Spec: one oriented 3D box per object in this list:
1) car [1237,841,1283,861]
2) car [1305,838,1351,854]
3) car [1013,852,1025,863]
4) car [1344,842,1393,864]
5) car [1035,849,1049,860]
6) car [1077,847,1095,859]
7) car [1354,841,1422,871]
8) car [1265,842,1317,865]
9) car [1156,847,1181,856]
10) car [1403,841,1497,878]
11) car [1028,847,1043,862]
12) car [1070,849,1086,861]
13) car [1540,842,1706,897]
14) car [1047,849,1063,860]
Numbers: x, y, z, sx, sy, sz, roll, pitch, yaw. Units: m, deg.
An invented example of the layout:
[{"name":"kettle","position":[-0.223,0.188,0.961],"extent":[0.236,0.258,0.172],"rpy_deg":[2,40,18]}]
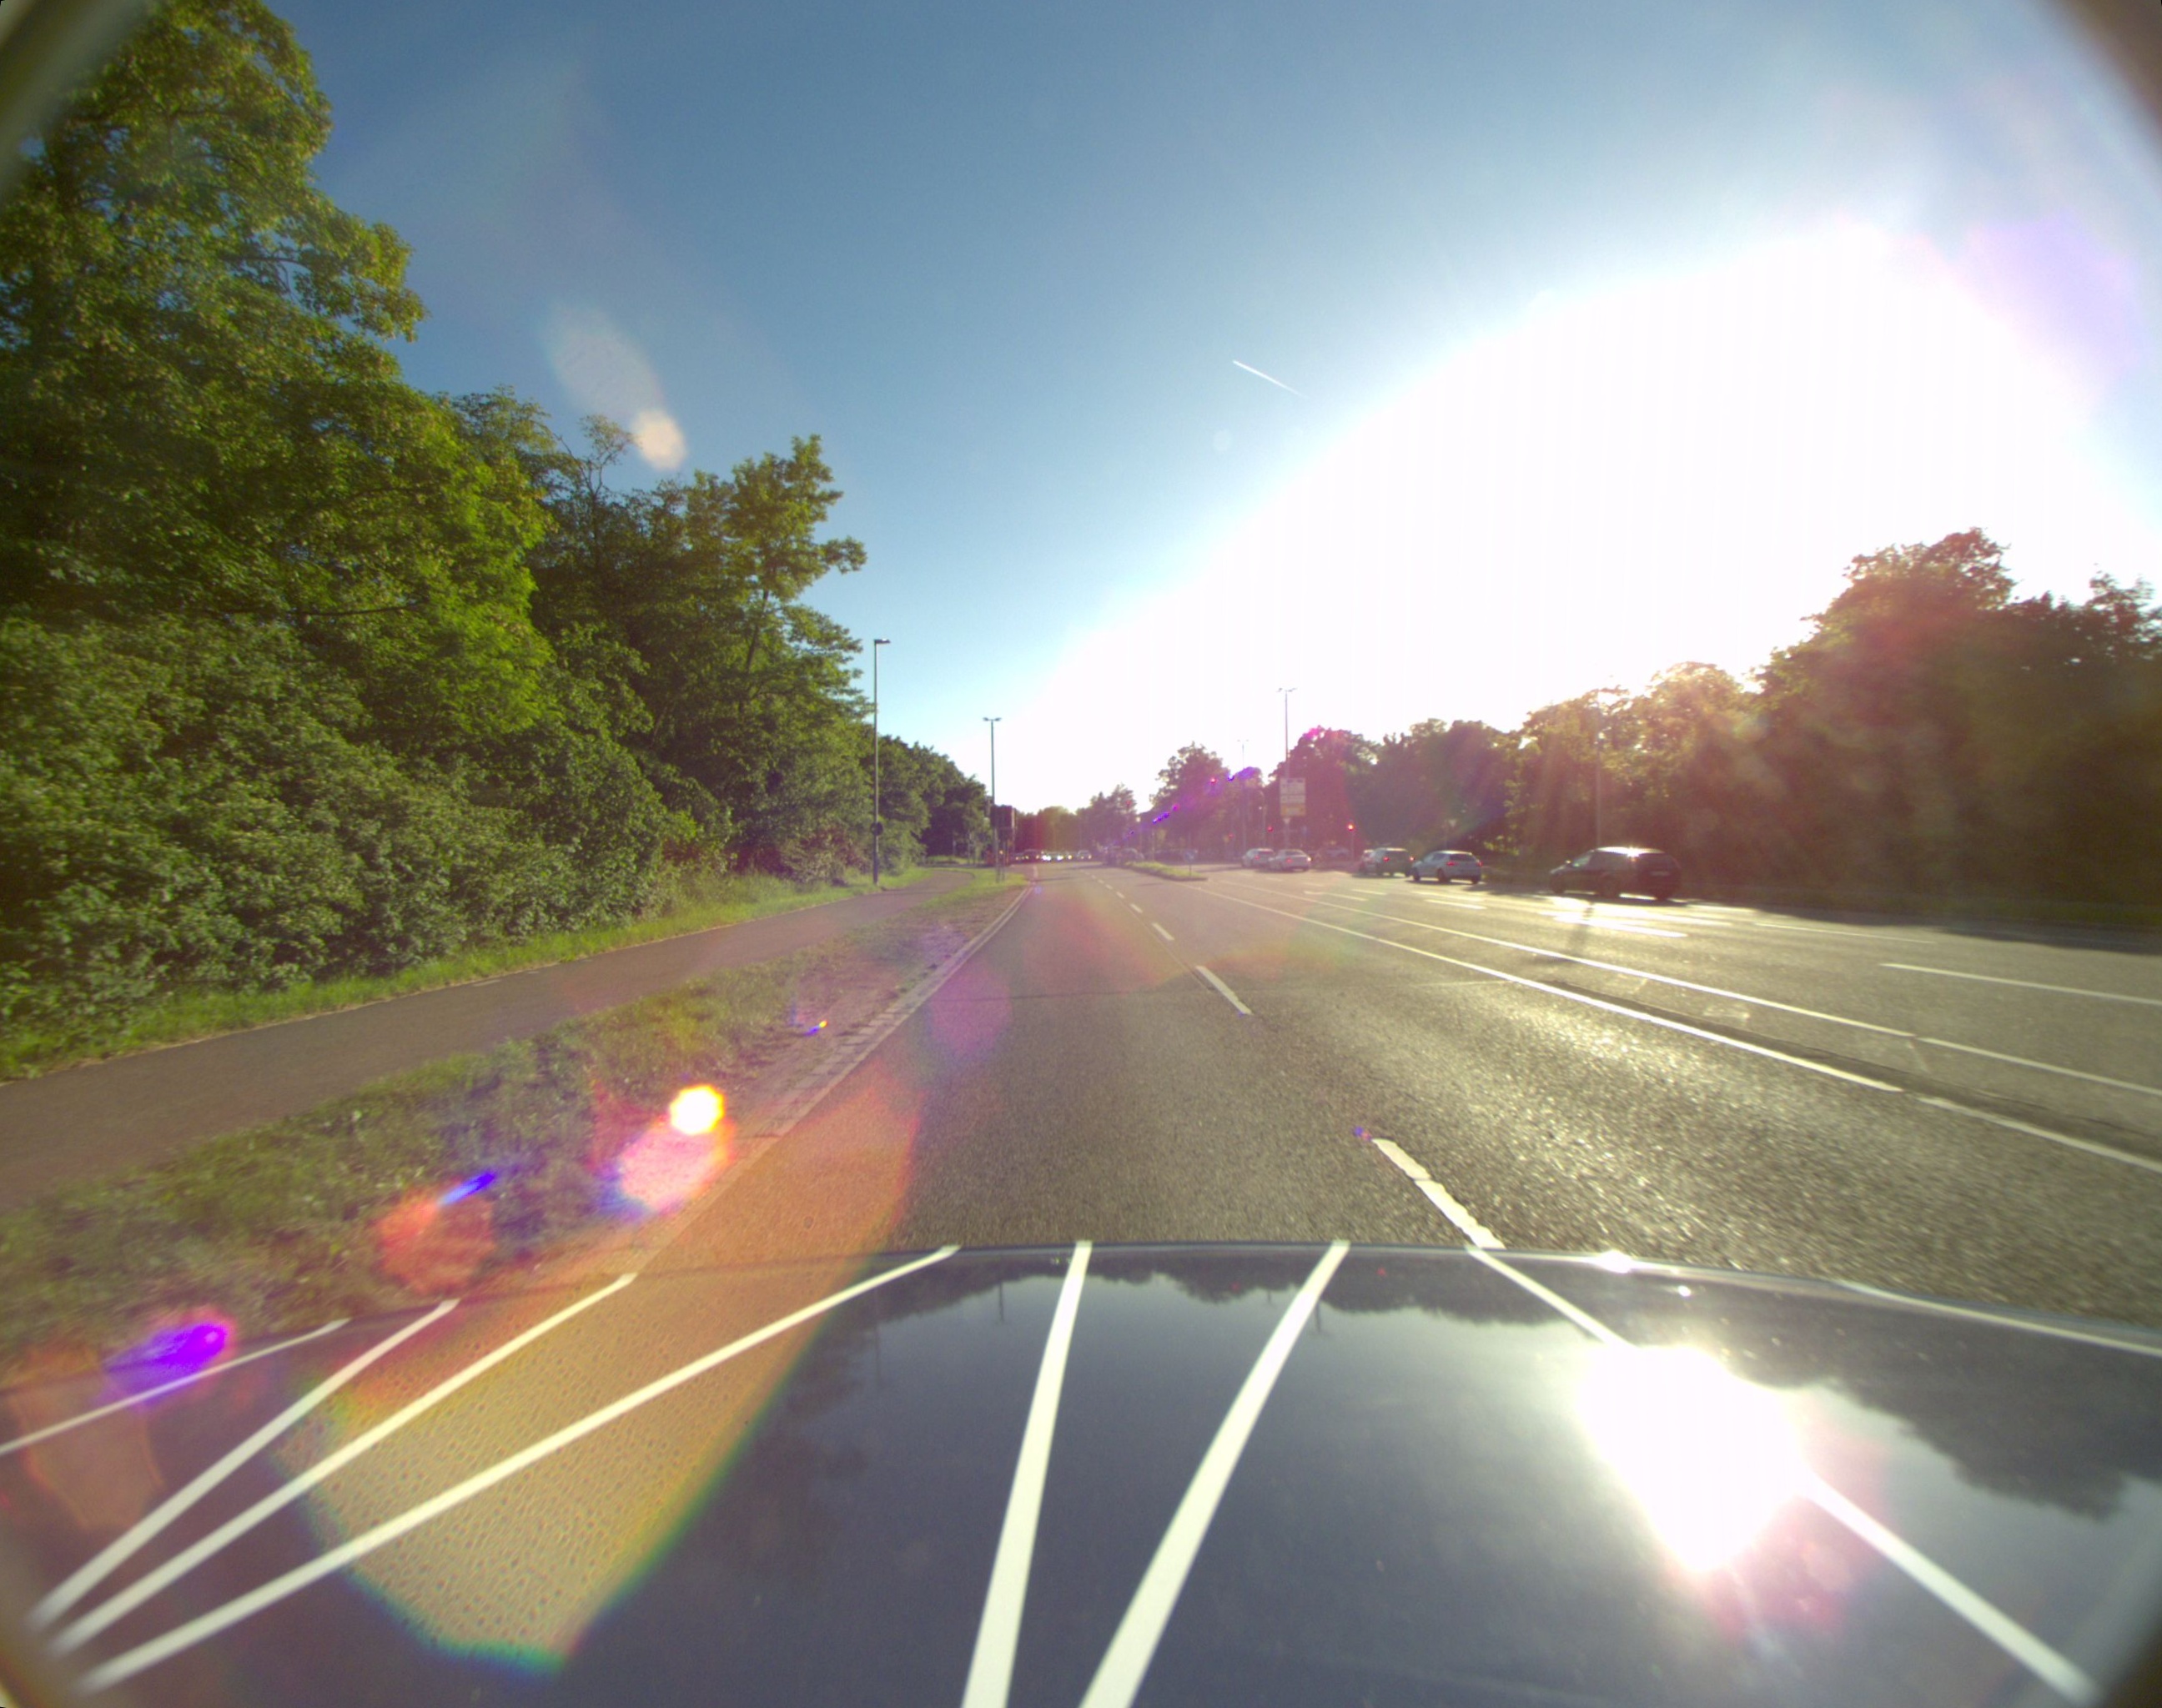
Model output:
[{"name":"car","position":[13.597,-0.245,57.952],"extent":[1.999,1.442,4.839],"rpy_deg":[0,1,-5]},{"name":"car","position":[26.552,-0.878,81.740],"extent":[4.732,1.677,2.002],"rpy_deg":[-1,1,18]},{"name":"car","position":[-10.151,0.552,124.187],"extent":[1.999,1.510,3.997],"rpy_deg":[-2,2,-5]},{"name":"car","position":[19.374,-0.095,51.054],"extent":[1.994,1.442,4.657],"rpy_deg":[0,1,34]},{"name":"car","position":[-6.020,0.029,117.639],"extent":[1.999,1.510,3.997],"rpy_deg":[-2,2,-5]},{"name":"car","position":[0.669,-0.156,102.164],"extent":[1.999,1.510,3.997],"rpy_deg":[-2,2,-5]},{"name":"car","position":[17.682,0.081,44.000],"extent":[1.998,1.555,4.647],"rpy_deg":[2,1,0]},{"name":"car","position":[13.825,-0.043,50.383],"extent":[1.999,1.442,4.646],"rpy_deg":[0,1,-2]},{"name":"car","position":[16.112,-0.480,140.247],"extent":[4.002,1.510,1.997],"rpy_deg":[-2,2,-17]},{"name":"car","position":[17.348,0.227,36.009],"extent":[1.999,1.555,4.646],"rpy_deg":[2,1,-2]},{"name":"car","position":[-6.551,0.049,108.835],"extent":[1.999,2.057,3.997],"rpy_deg":[-2,2,-5]},{"name":"car","position":[-0.416,0.136,113.775],"extent":[1.999,1.510,3.997],"rpy_deg":[-2,2,-5]},{"name":"car","position":[17.165,0.426,24.425],"extent":[1.998,1.555,4.647],"rpy_deg":[1,1,0]},{"name":"car","position":[-3.801,0.040,110.163],"extent":[1.999,1.510,3.997],"rpy_deg":[-2,2,-5]}]
